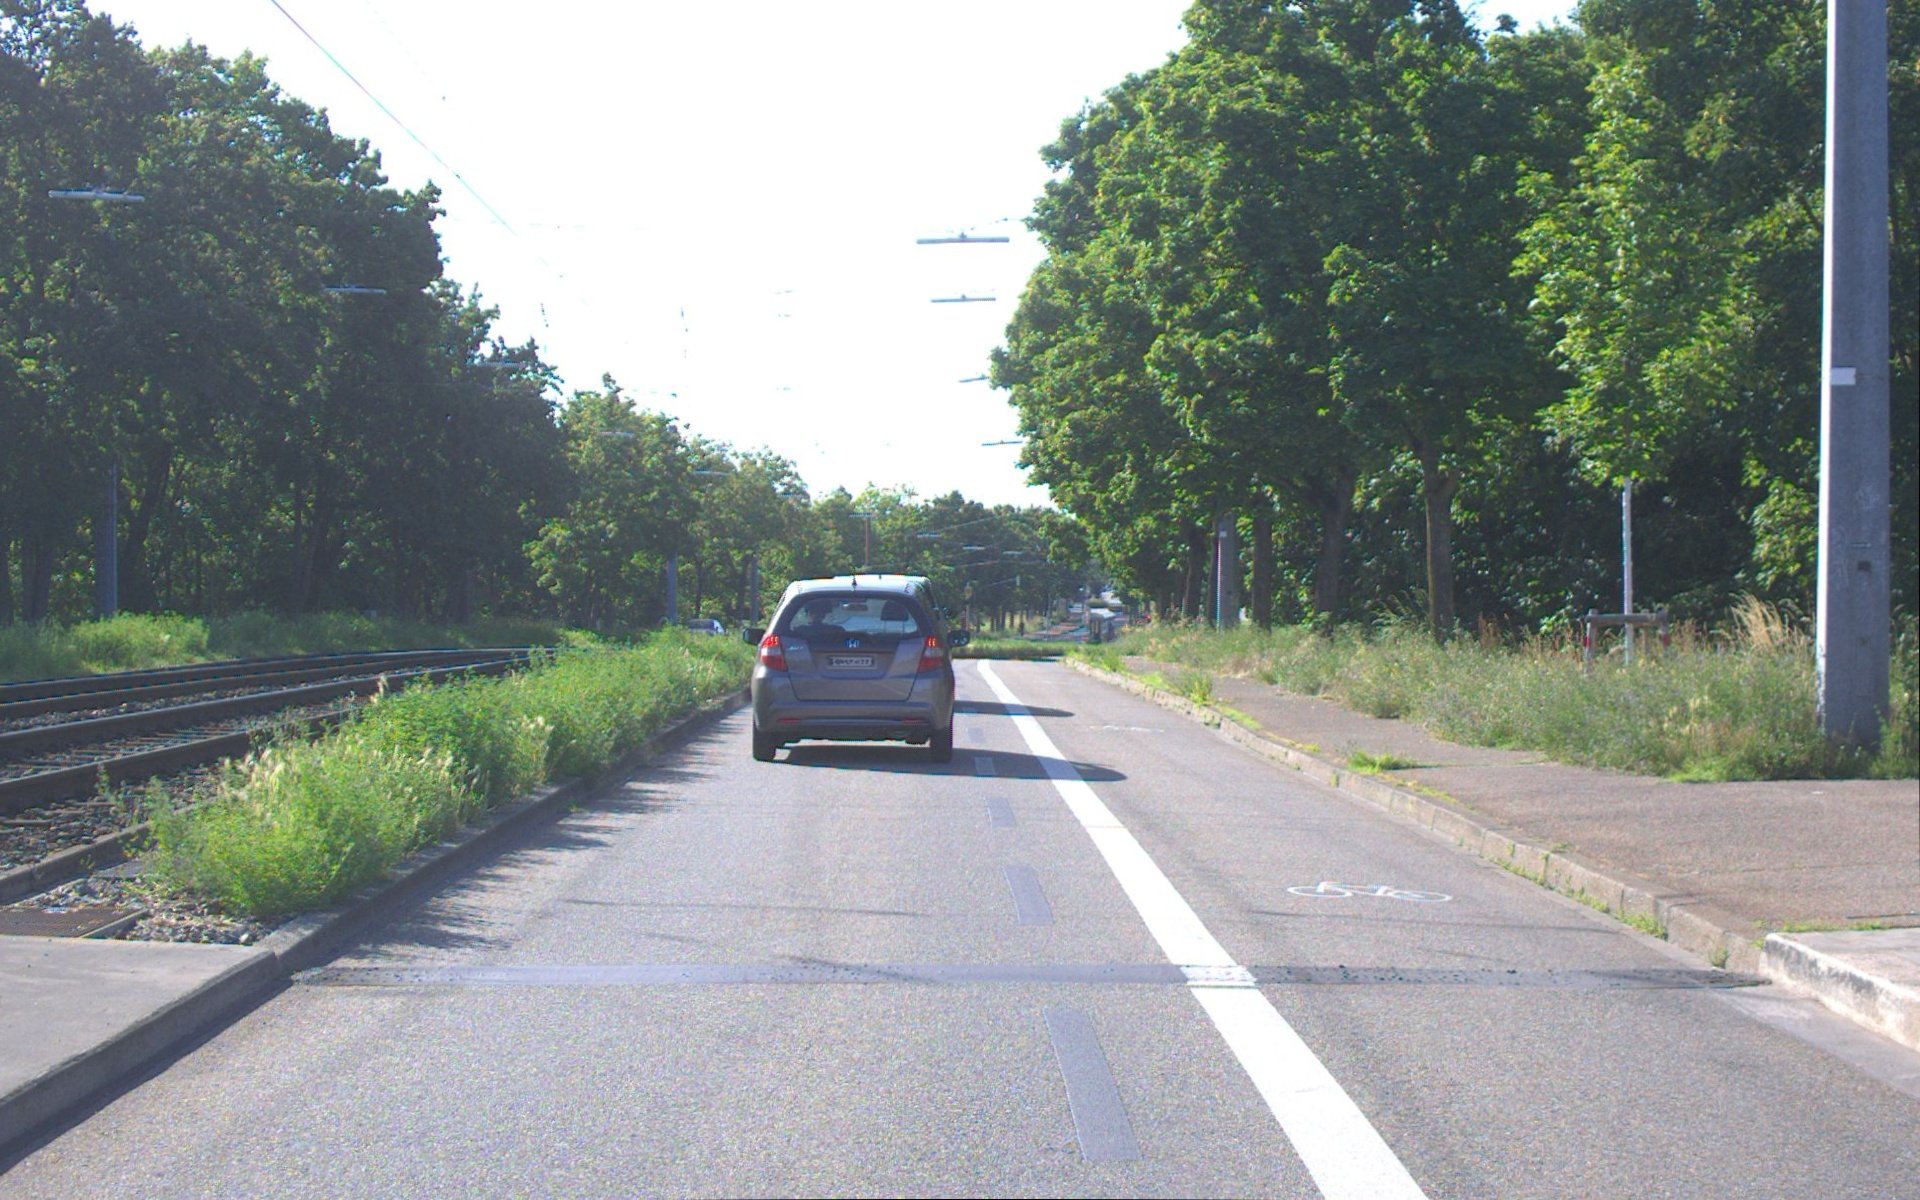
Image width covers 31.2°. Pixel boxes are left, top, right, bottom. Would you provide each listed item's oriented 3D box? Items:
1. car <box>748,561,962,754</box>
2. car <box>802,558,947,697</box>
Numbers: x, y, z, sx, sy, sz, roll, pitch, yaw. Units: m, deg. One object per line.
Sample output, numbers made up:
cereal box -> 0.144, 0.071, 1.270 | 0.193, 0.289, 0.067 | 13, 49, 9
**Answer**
car -> -0.845, 0.469, 29.678 | 1.670, 1.502, 3.811 | 2, 0, 0
car -> -1.024, 0.308, 42.894 | 1.654, 1.502, 3.811 | 2, 2, 0
